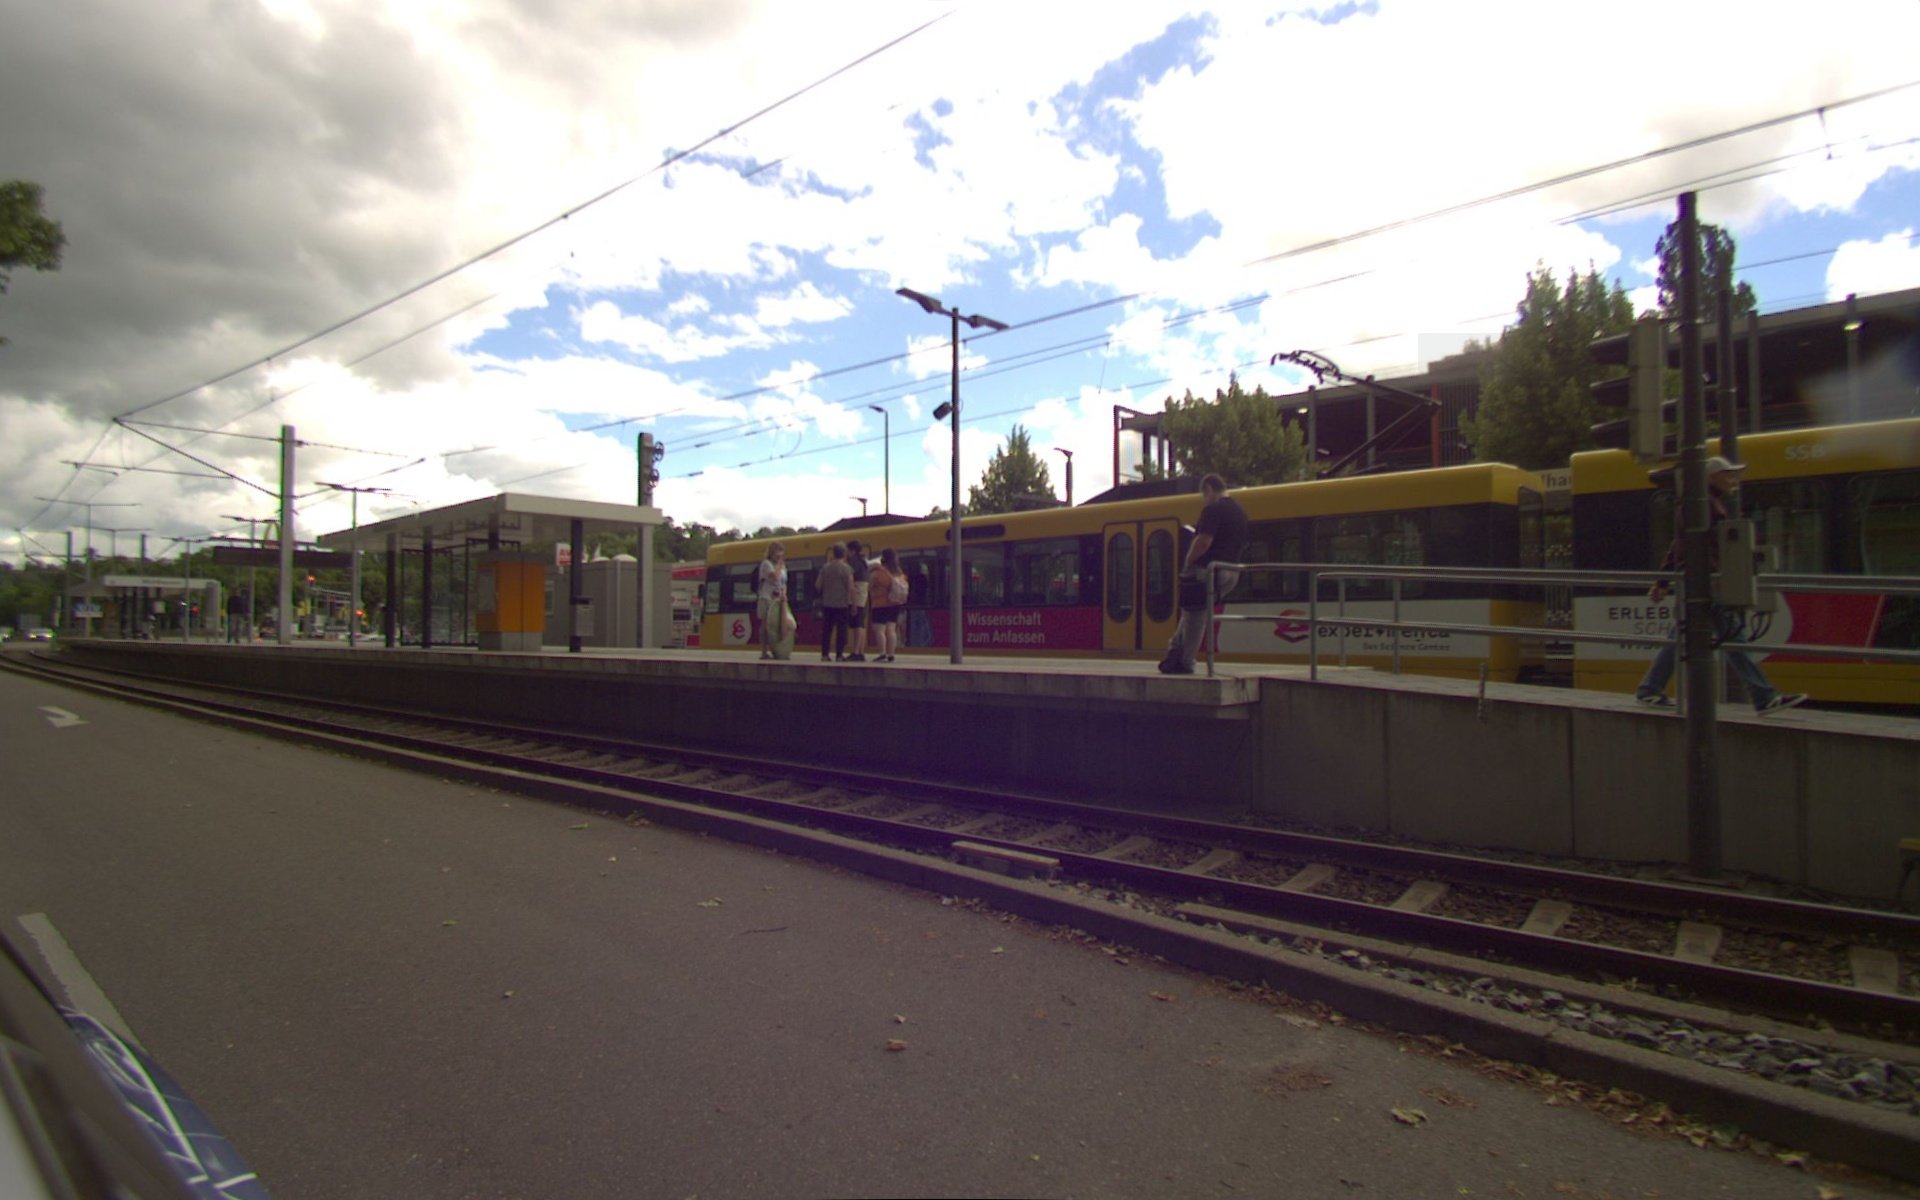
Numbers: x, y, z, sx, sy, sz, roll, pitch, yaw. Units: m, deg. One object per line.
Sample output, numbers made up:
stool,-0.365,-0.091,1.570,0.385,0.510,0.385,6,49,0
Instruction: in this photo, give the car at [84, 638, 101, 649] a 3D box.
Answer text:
car,-170.098,8.512,198.491,3.999,2.029,1.972,-2,-4,42

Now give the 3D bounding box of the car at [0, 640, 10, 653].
car,-117.457,5.636,123.484,1.803,1.564,4.007,3,-4,-39

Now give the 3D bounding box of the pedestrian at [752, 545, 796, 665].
pedestrian,-2.389,0.077,13.002,0.512,1.494,0.583,1,-3,-10

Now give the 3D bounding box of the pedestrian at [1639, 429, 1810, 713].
pedestrian,4.950,-0.151,6.554,0.790,1.691,0.763,-2,-4,42

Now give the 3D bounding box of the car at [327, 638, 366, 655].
car,-49.330,3.740,81.363,4.030,1.360,1.595,-2,-3,43

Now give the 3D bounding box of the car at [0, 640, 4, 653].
car,-114.129,5.423,119.114,1.802,1.564,4.008,3,-4,-37

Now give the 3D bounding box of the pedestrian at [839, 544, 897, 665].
pedestrian,-1.162,0.068,12.772,0.540,1.494,0.472,-1,-4,31

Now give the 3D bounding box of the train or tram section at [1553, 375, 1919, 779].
train or tram section,14.597,-0.347,6.335,18.635,3.858,2.725,-2,-3,44

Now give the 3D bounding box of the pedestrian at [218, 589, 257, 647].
pedestrian,-22.421,0.572,31.413,0.936,1.757,0.740,-2,-4,42

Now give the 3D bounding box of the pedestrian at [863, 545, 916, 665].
pedestrian,-0.849,0.069,12.224,0.411,1.416,0.474,-2,-4,41

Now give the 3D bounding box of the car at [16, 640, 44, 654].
car,-102.711,5.192,111.762,1.937,1.564,4.007,3,-4,-39

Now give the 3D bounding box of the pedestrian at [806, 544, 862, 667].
pedestrian,-1.550,0.078,12.441,0.639,1.476,0.357,-2,-3,41

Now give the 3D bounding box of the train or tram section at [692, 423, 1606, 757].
train or tram section,1.130,0.137,19.278,18.634,3.912,2.726,-2,-3,44

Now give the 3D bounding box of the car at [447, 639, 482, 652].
car,-62.571,5.795,127.827,3.596,1.566,1.724,0,-3,5

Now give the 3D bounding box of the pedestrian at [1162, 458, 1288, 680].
pedestrian,2.120,-0.219,8.202,0.734,1.691,0.877,1,-3,-4

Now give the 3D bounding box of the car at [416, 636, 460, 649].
car,-62.116,5.049,120.557,1.789,1.443,4.374,-1,-2,29

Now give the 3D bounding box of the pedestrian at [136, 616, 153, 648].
pedestrian,-43.299,1.704,53.709,0.572,1.633,0.577,-2,-4,44
